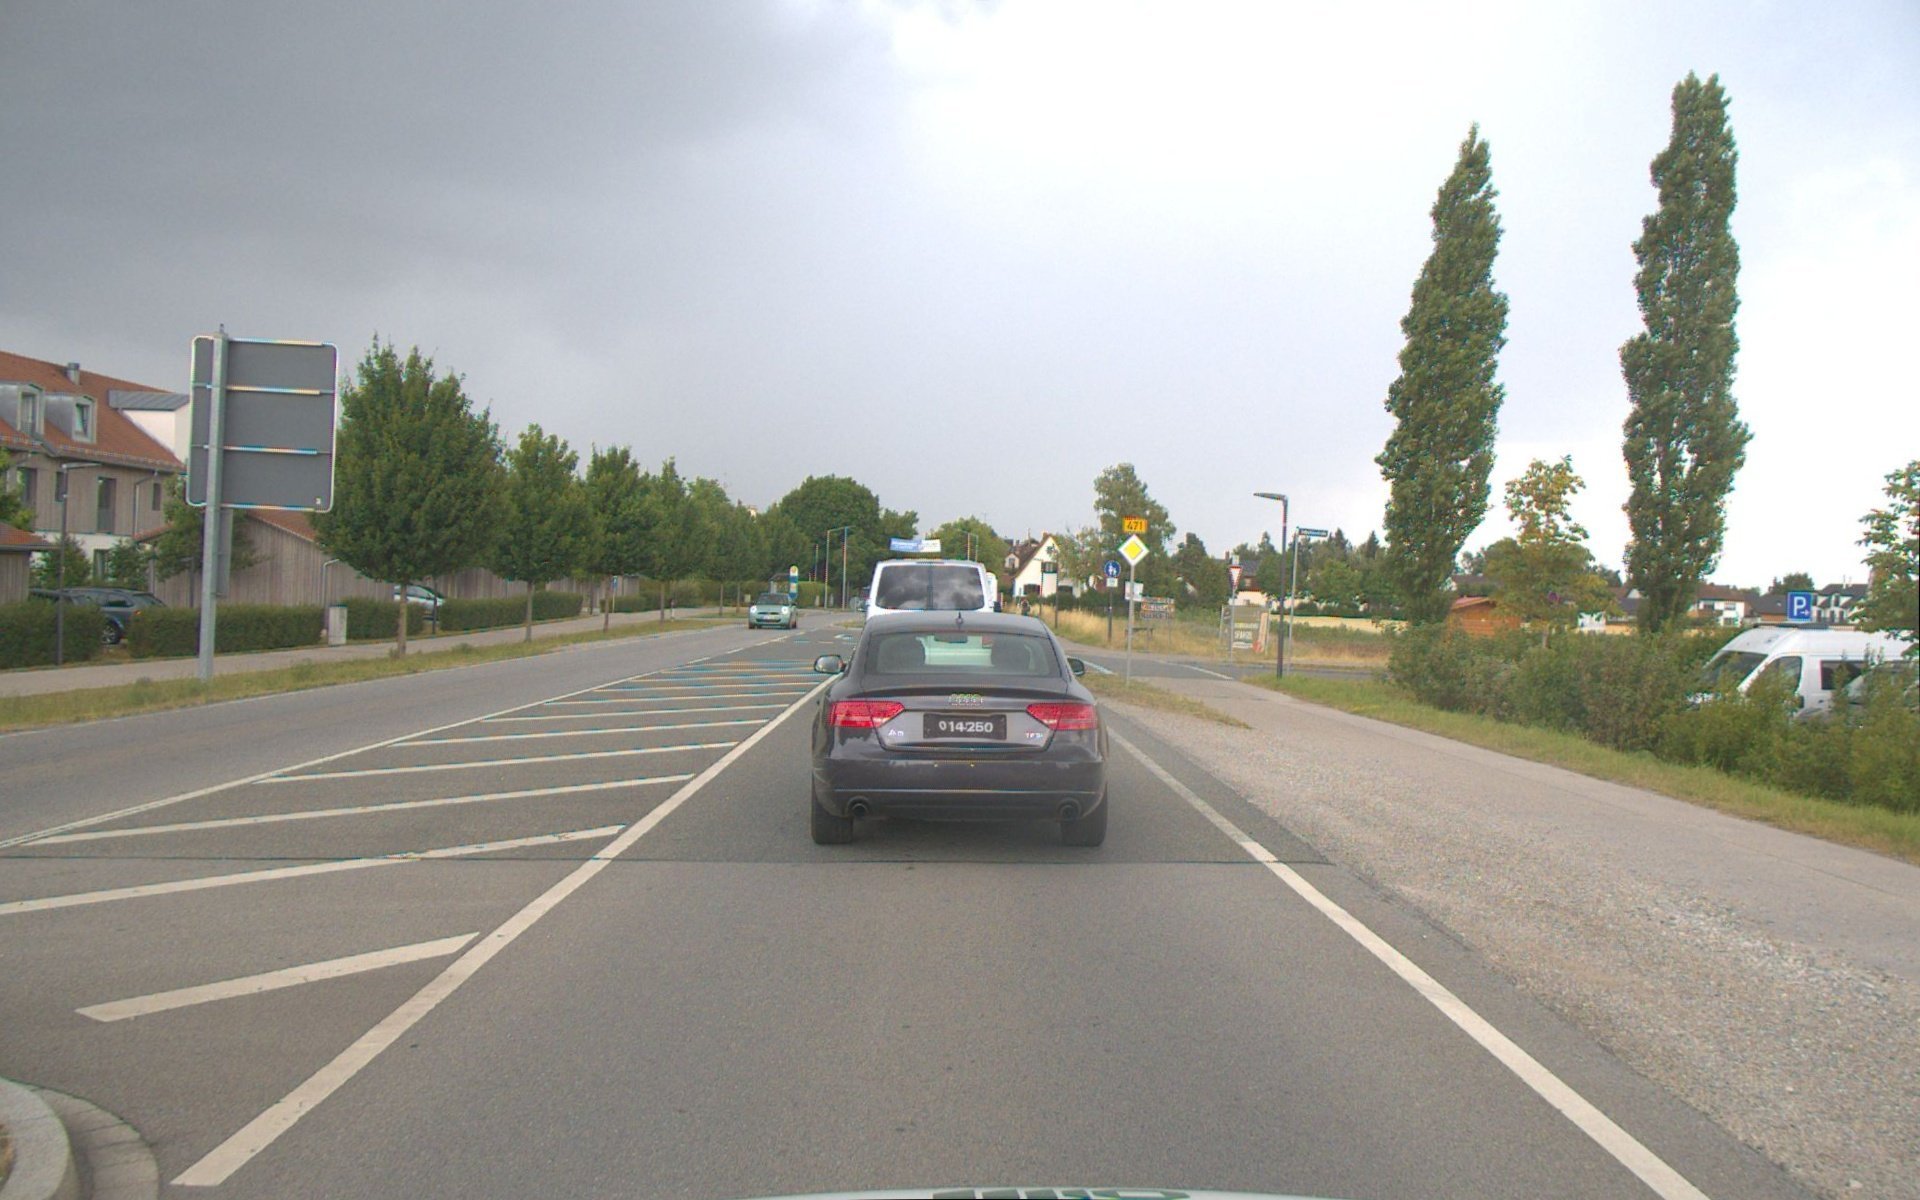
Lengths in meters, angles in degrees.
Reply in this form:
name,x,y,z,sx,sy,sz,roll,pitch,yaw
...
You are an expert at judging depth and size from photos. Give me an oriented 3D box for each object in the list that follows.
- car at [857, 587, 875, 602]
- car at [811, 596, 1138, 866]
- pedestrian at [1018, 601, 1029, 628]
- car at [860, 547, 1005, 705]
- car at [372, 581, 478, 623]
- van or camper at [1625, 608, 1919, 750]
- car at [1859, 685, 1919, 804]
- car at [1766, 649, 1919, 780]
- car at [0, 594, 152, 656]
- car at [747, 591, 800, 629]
name,x,y,z,sx,sy,sz,roll,pitch,yaw
car,-8.958,-0.548,158.219,1.620,1.454,3.601,0,0,-1
car,-0.106,0.701,11.184,1.790,1.413,4.383,0,1,-5
pedestrian,3.715,0.849,97.280,0.611,1.551,0.679,0,0,-1
car,-0.436,0.322,23.410,1.789,1.946,3.998,3,0,-2
car,-23.626,0.072,73.145,3.905,1.583,2.000,3,0,0
van or camper,16.073,1.447,31.021,6.338,2.507,2.280,0,0,-4
car,16.333,2.147,24.640,4.993,1.626,1.757,0,0,-3
car,16.396,1.905,28.046,4.501,2.049,1.999,0,0,-3
car,-22.737,0.628,42.193,3.443,1.515,1.563,0,0,-1
car,-7.592,0.383,67.598,1.734,1.469,3.999,0,0,-1
